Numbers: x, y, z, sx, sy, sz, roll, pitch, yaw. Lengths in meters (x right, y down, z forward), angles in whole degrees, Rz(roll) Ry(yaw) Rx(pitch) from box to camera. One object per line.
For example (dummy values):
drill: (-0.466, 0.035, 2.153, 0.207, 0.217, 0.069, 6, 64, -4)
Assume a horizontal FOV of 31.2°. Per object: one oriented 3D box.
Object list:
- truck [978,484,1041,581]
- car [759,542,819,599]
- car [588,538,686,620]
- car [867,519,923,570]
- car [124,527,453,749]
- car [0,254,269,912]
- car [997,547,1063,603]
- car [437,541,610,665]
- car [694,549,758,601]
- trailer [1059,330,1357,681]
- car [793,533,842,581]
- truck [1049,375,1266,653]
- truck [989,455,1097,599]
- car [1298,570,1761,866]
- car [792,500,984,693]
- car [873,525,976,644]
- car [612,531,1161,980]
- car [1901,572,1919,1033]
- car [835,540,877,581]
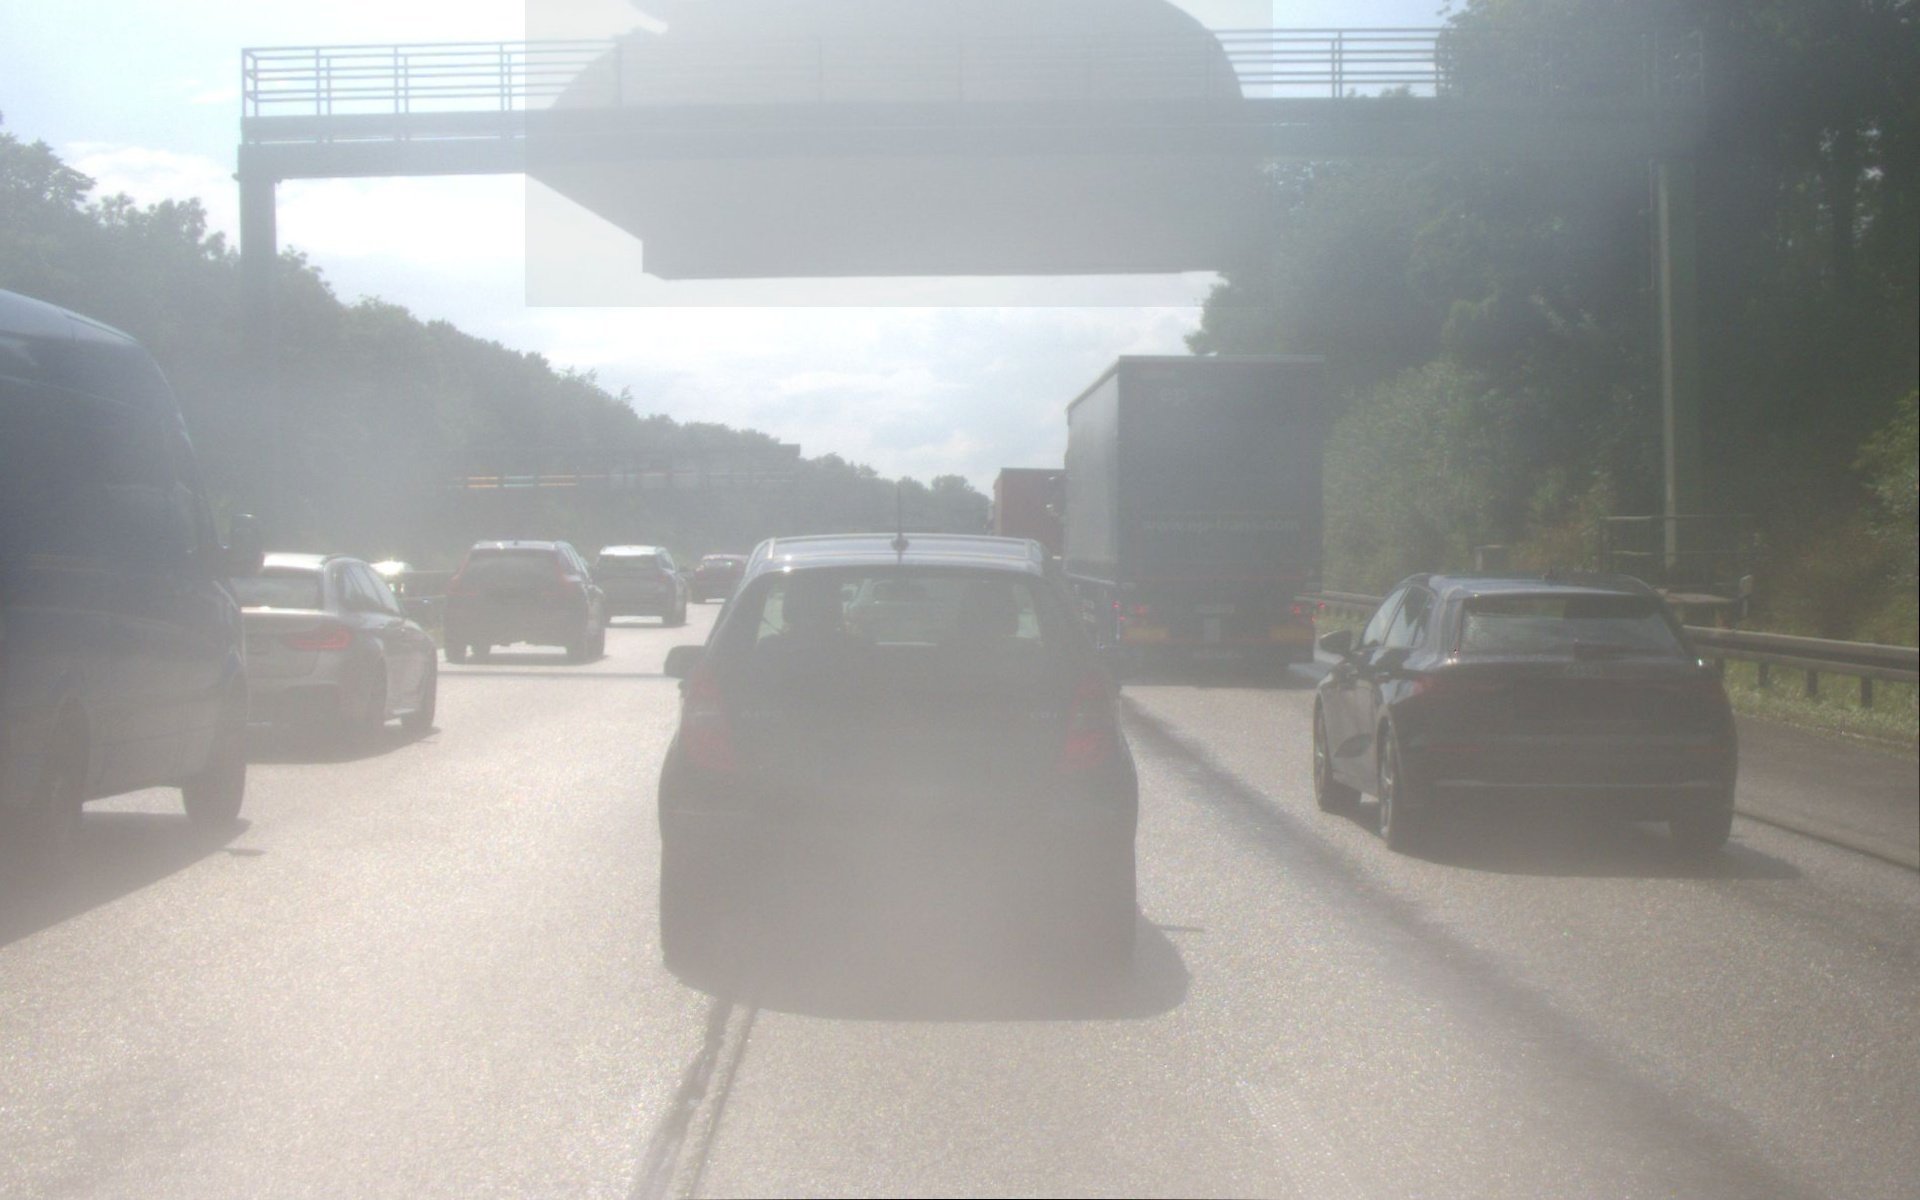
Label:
truck: (2.432, -3.339, 172.990, 2.882, 4.671, 12.659, 1, 0, 0)
car: (-6.228, -1.072, 125.560, 1.993, 2.007, 4.000, 1, 0, -1)
car: (-6.537, -0.442, 69.822, 1.675, 1.591, 3.437, 1, 1, -1)
car: (-1.944, -1.675, 103.291, 1.631, 1.485, 3.437, 1, 1, -1)
car: (-5.136, 0.241, 26.809, 1.758, 1.589, 4.331, 0, 1, -1)
car: (-4.881, -0.112, 16.457, 2.015, 2.639, 5.777, 1, 1, -1)
car: (1.892, -0.706, 93.927, 1.675, 1.485, 3.437, 1, 1, -1)
car: (-5.977, 0.007, 47.509, 1.893, 1.622, 4.195, 1, 1, -1)
car: (-6.850, -0.751, 100.963, 1.675, 1.485, 3.437, 1, 1, -1)
trailer: (3.269, -1.270, 49.476, 3.088, 4.298, 14.106, 1, 1, -1)
car: (-6.188, -1.857, 149.633, 1.993, 2.007, 4.000, 1, 0, -1)
truck: (3.168, -1.380, 56.704, 3.052, 4.310, 5.886, 1, 1, -1)
truck: (2.583, -2.298, 109.967, 3.202, 4.389, 9.432, 1, 1, 0)
car: (2.971, 0.555, 18.814, 1.755, 1.391, 4.368, 1, 1, -1)
car: (-0.791, -0.056, 38.326, 1.993, 2.007, 4.000, 1, 0, -1)
car: (-0.596, -0.280, 57.915, 1.675, 1.929, 3.773, 1, 1, -1)
car: (-0.279, 0.516, 14.232, 1.915, 1.560, 4.314, 1, 1, -1)
car: (3.902, 0.668, 9.164, 1.650, 1.451, 3.745, 0, 1, -2)
car: (-5.196, -1.969, 172.710, 1.993, 2.007, 4.000, 1, 0, -1)
